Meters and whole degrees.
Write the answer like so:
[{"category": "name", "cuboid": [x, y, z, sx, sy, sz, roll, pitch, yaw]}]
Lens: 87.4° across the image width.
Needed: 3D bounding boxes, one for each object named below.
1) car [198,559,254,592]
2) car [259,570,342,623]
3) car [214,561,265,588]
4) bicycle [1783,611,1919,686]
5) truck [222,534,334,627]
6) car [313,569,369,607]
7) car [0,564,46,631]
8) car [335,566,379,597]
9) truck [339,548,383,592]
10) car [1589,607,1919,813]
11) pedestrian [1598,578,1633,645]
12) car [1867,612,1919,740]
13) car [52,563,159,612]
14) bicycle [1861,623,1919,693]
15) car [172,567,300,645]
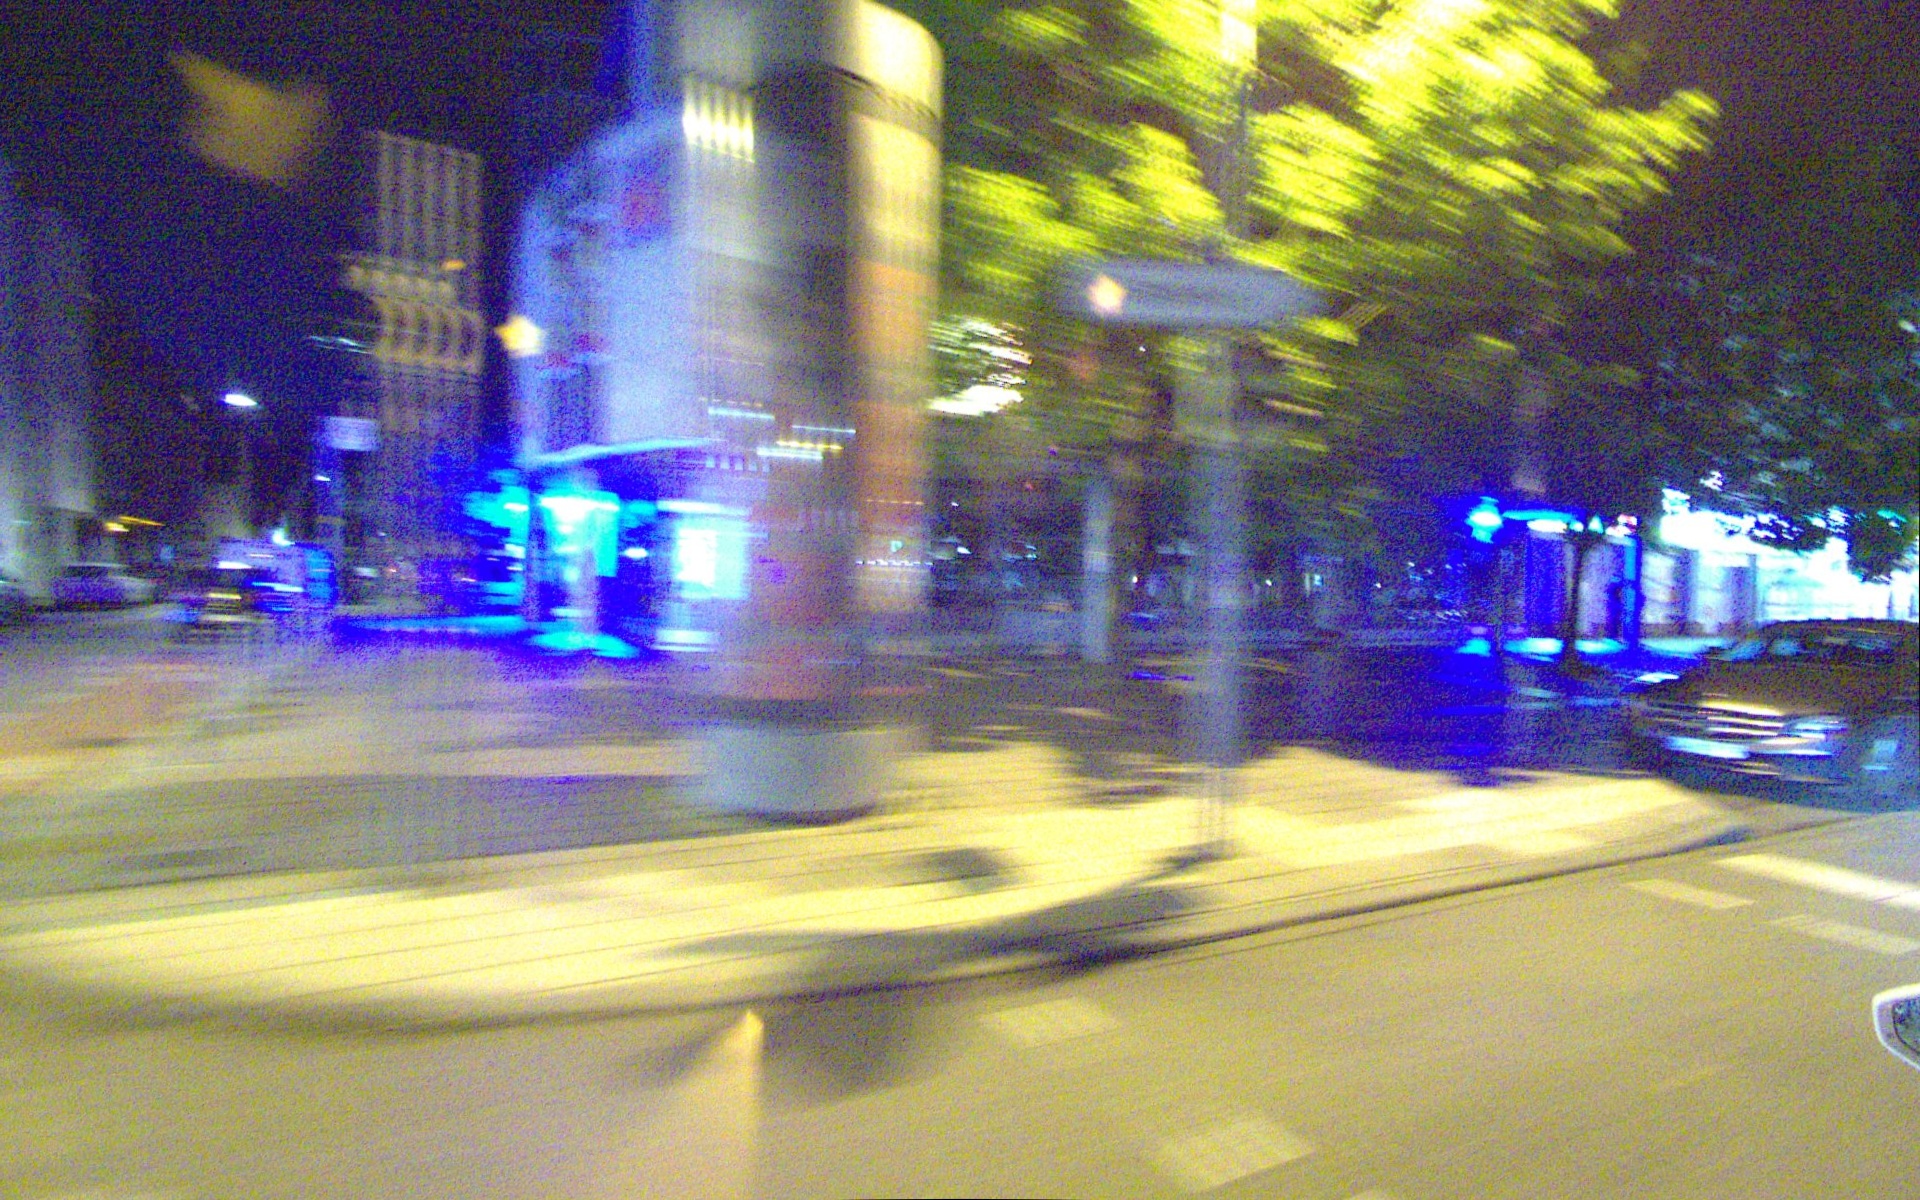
[{"category": "car", "cuboid": [-37.304, -1.247, 51.141, 1.781, 1.543, 3.881, 1, 1, -28]}, {"category": "car", "cuboid": [-19.304, -0.117, 29.539, 1.705, 1.437, 3.881, 1, 1, -28]}, {"category": "car", "cuboid": [-39.710, -1.388, 55.406, 1.781, 1.414, 3.881, 1, 1, -28]}, {"category": "bicycle", "cuboid": [14.209, 0.742, 15.809, 0.526, 1.013, 1.843, 1, 3, -28]}, {"category": "truck", "cuboid": [-16.493, -0.456, 24.473, 1.835, 2.050, 4.011, 1, 1, -28]}, {"category": "car", "cuboid": [-25.114, -0.490, 40.848, 1.705, 1.437, 3.881, 1, 1, -28]}, {"category": "car", "cuboid": [-21.636, -0.082, 21.778, 1.781, 1.414, 3.881, 1, 1, -28]}, {"category": "car", "cuboid": [-30.481, -0.932, 50.824, 1.705, 1.437, 3.881, 1, 1, -28]}, {"category": "truck", "cuboid": [-32.668, -1.593, 54.837, 1.835, 2.268, 3.964, 1, 1, -28]}, {"category": "car", "cuboid": [8.288, 0.858, 9.457, 4.859, 1.444, 1.799, 1, 3, -28]}, {"category": "pedestrian", "cuboid": [16.526, 0.281, 25.324, 0.624, 1.658, 0.476, 1, 1, -27]}, {"category": "car", "cuboid": [12.998, 0.936, 12.164, 3.927, 1.448, 1.715, 1, 3, -28]}, {"category": "car", "cuboid": [-26.852, -0.404, 31.689, 1.781, 1.414, 3.881, 1, 1, -28]}, {"category": "bicycle", "cuboid": [16.894, 1.019, 17.391, 0.526, 1.182, 1.843, 1, 1, -28]}, {"category": "car", "cuboid": [-14.164, 0.098, 19.810, 1.639, 1.403, 3.077, 1, 1, -29]}]
